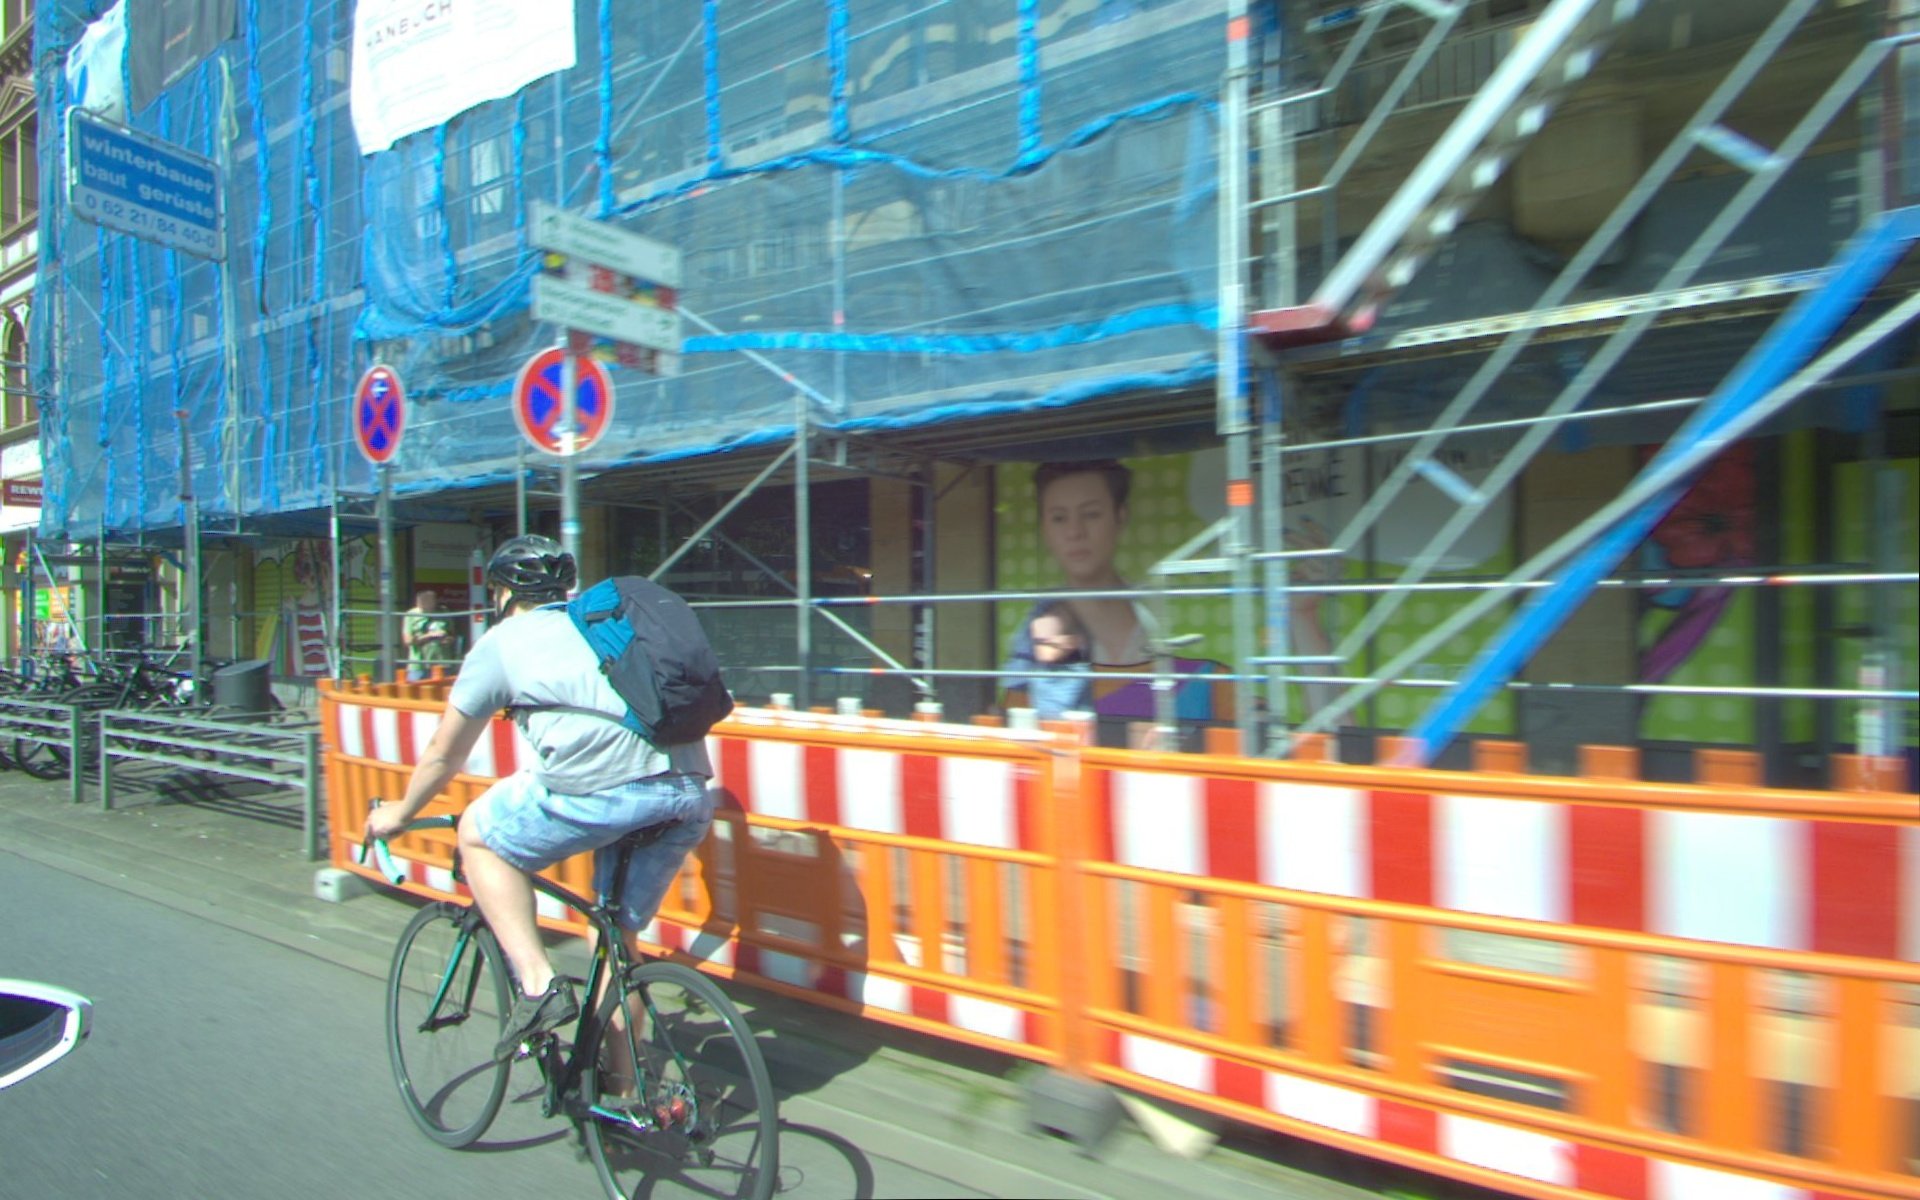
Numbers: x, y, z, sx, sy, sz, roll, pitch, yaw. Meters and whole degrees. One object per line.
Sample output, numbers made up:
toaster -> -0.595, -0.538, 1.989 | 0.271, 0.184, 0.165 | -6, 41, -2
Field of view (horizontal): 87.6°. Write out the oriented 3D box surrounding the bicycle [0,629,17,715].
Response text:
bicycle -> -14.101, 0.994, 13.619 | 0.600, 1.193, 1.768 | -1, -2, 32

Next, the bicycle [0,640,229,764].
bicycle -> -8.351, 0.956, 9.923 | 0.600, 1.111, 1.690 | -1, -2, 32

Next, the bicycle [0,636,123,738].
bicycle -> -10.688, 0.967, 11.355 | 0.600, 1.123, 1.736 | -1, -2, 32

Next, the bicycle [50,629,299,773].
bicycle -> -7.132, 0.865, 9.181 | 0.600, 1.193, 1.690 | -1, -2, 32

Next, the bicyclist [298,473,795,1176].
bicyclist -> -1.113, 0.492, 2.709 | 1.126, 1.481, 0.687 | -1, -2, 31

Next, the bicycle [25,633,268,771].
bicycle -> -7.694, 0.917, 9.553 | 0.600, 1.193, 1.690 | -1, -2, 32

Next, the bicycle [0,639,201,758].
bicycle -> -8.907, 0.963, 10.265 | 0.600, 1.111, 1.690 | -1, -2, 32

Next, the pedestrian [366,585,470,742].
pedestrian -> -5.827, 0.669, 10.780 | 0.753, 1.621, 0.643 | 0, -2, 26

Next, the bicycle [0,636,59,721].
bicycle -> -12.826, 1.016, 12.914 | 0.600, 1.101, 1.690 | -1, -2, 32

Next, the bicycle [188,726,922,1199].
bicycle -> -1.183, 0.977, 2.734 | 2.099, 1.106, 0.733 | -1, -2, 31

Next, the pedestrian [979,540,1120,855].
pedestrian -> 0.561, 0.573, 6.173 | 0.640, 1.798, 0.638 | 0, -2, 32
